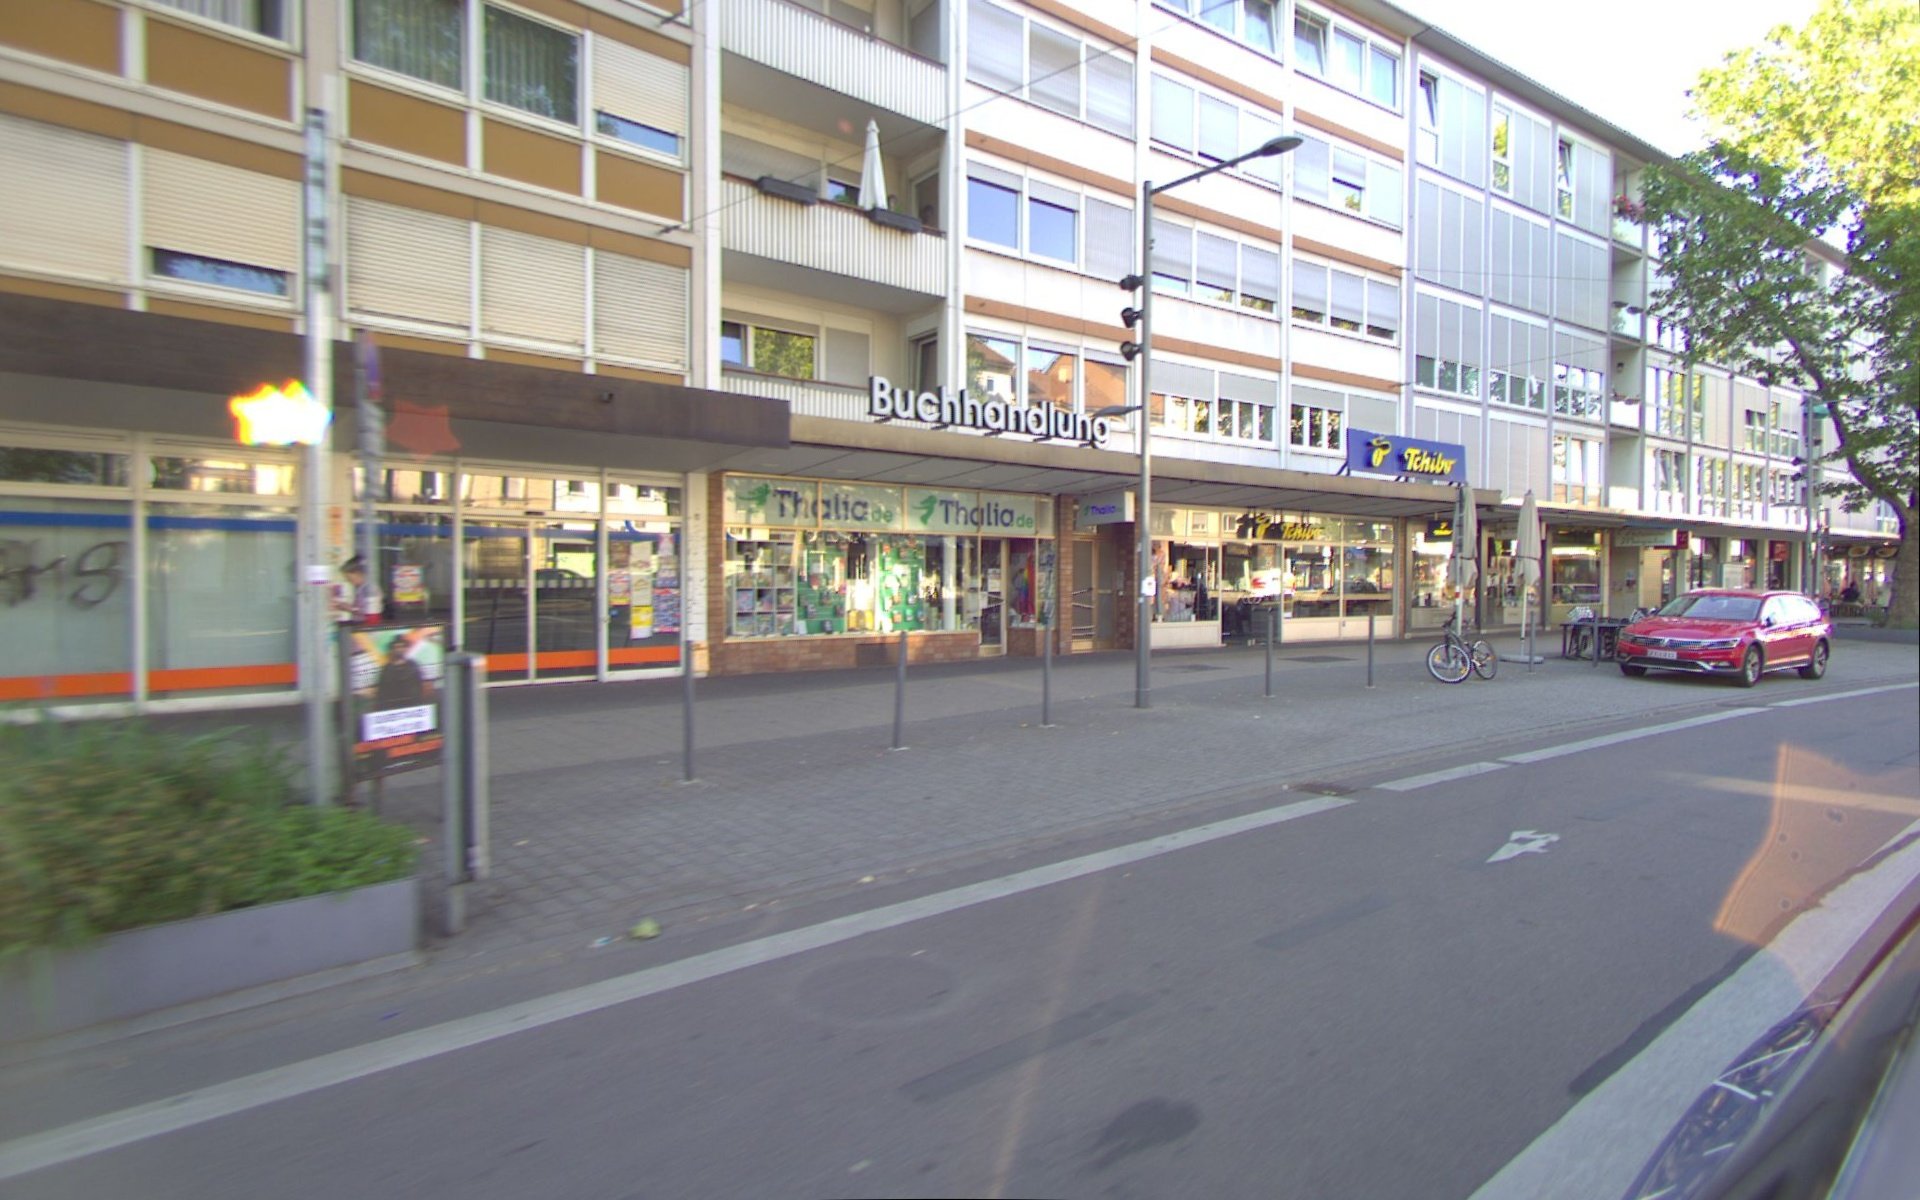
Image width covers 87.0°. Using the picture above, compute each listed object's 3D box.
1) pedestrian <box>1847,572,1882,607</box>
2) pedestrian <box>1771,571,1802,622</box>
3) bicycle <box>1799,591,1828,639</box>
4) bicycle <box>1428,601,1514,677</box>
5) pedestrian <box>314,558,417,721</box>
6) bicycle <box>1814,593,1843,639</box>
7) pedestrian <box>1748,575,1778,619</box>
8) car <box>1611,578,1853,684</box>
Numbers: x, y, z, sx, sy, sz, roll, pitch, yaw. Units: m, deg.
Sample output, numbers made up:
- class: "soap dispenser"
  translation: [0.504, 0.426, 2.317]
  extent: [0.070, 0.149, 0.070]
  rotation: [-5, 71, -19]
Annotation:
- class: "pedestrian"
  translation: [36.345, -0.440, 40.670]
  extent: [0.943, 1.379, 0.752]
  rotation: [-1, 1, -29]
- class: "pedestrian"
  translation: [26.977, -0.128, 33.035]
  extent: [0.674, 1.610, 0.539]
  rotation: [-1, 3, -34]
- class: "bicycle"
  translation: [20.975, 0.357, 24.858]
  extent: [1.689, 1.114, 0.294]
  rotation: [-1, 4, -43]
- class: "bicycle"
  translation: [7.980, 0.587, 15.784]
  extent: [1.631, 1.083, 0.512]
  rotation: [-1, 3, -38]
- class: "pedestrian"
  translation: [-6.024, 0.367, 10.257]
  extent: [0.794, 1.571, 0.640]
  rotation: [-1, 2, -42]
- class: "bicycle"
  translation: [21.095, 0.375, 24.581]
  extent: [1.689, 1.053, 0.294]
  rotation: [-1, 4, -43]
- class: "pedestrian"
  translation: [26.659, -0.104, 33.589]
  extent: [0.674, 1.417, 0.539]
  rotation: [-1, 3, -34]
- class: "car"
  translation: [13.113, 0.423, 17.117]
  extent: [4.478, 1.514, 1.786]
  rotation: [-1, 3, -33]
